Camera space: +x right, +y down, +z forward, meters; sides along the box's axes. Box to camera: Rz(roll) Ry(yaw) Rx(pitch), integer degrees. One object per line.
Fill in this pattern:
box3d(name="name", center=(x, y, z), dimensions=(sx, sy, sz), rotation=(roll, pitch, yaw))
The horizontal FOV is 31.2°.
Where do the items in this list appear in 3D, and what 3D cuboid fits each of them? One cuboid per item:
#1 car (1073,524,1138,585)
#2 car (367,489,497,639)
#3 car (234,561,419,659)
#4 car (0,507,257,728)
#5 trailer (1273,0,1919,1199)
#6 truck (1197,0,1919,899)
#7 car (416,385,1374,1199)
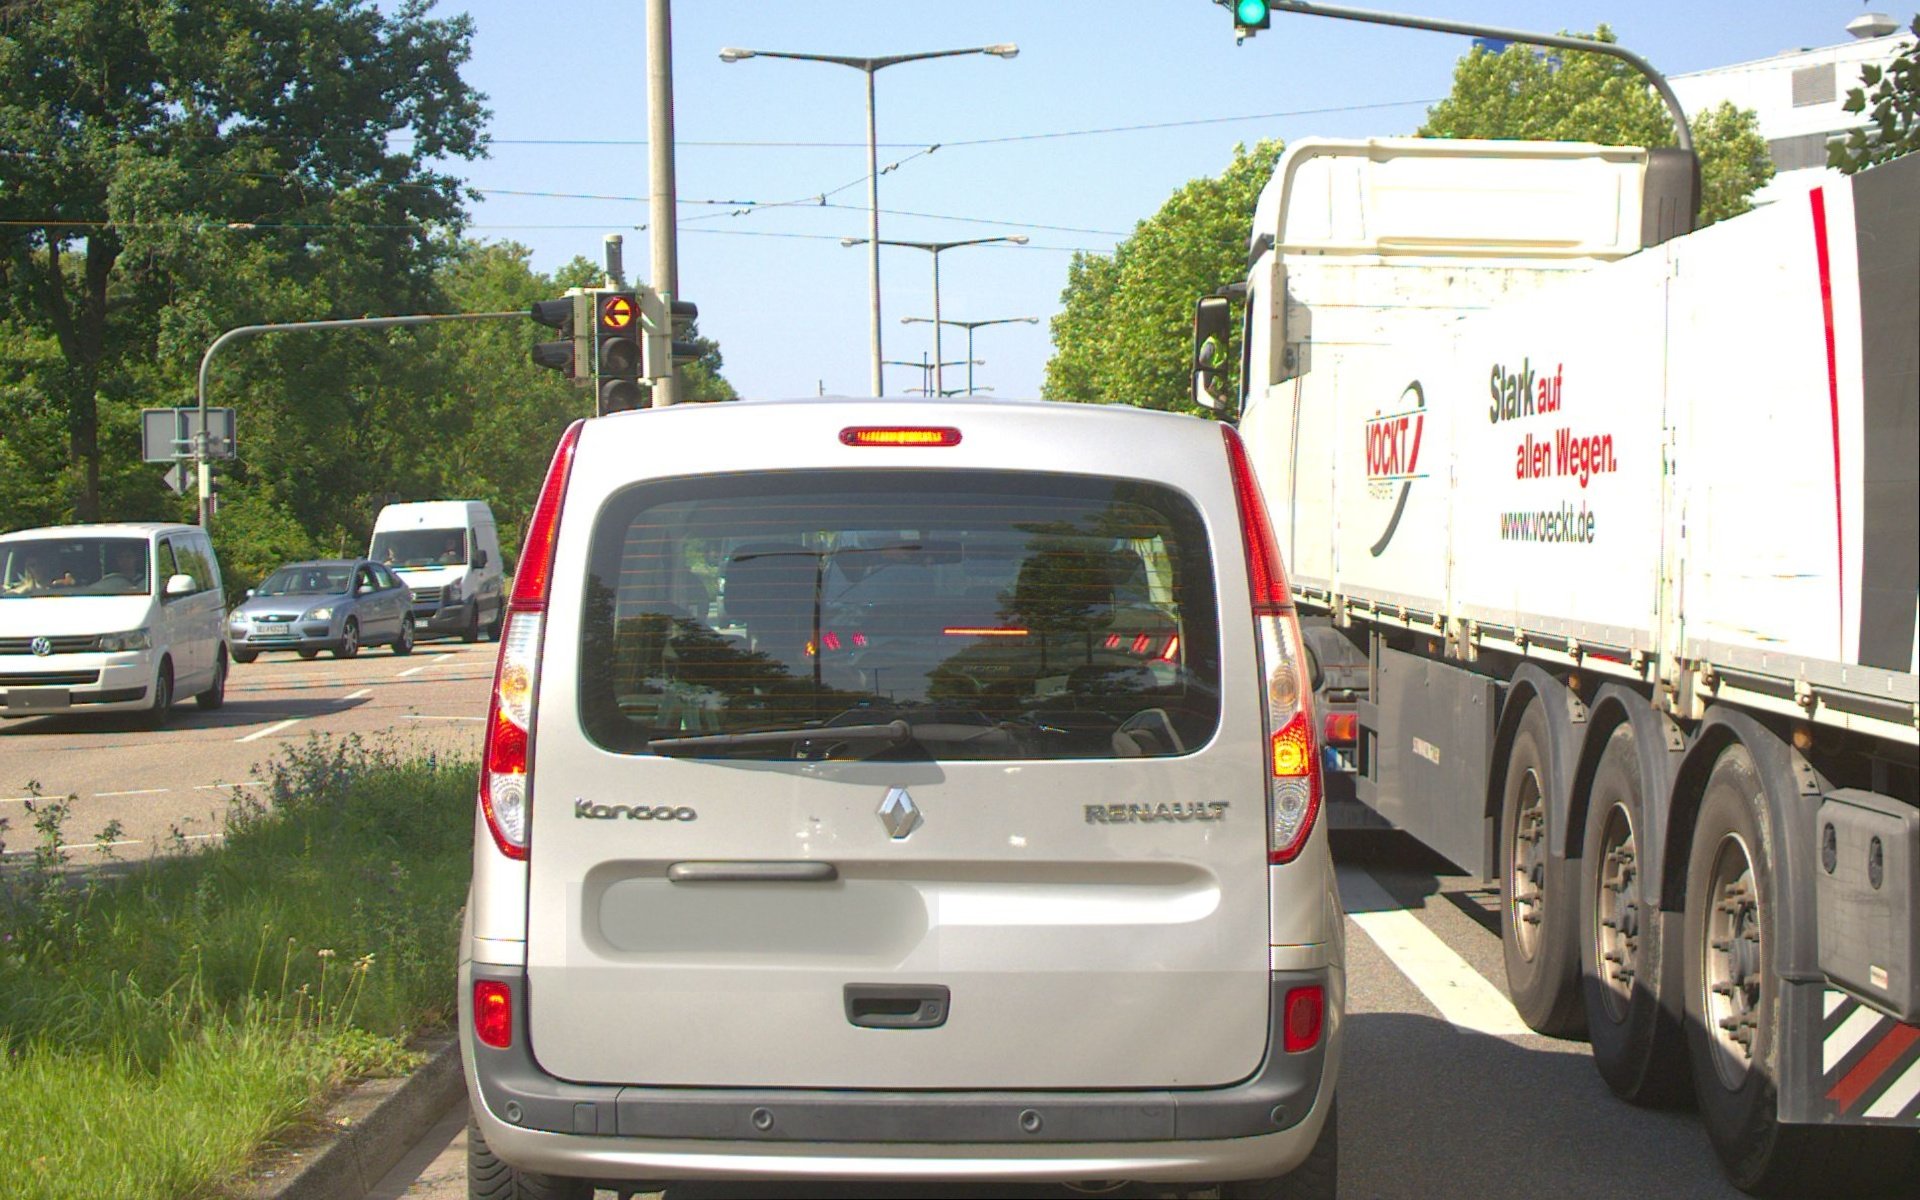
box3d(name="car", center=(4.917, -1.542, 116.505), dimensions=(1.993, 2.007, 4.000), rotation=(0, 1, -1))
box3d(name="car", center=(-9.598, -0.664, 62.911), dimensions=(2.058, 2.605, 5.871), rotation=(0, 1, -6))
box3d(name="car", center=(-9.442, 0.117, 51.564), dimensions=(1.911, 1.404, 4.227), rotation=(0, 1, 1))
box3d(name="car", center=(-8.252, 0.144, 32.867), dimensions=(1.993, 1.884, 4.988), rotation=(-3, 1, -1))
box3d(name="trailer", center=(2.992, -0.635, 10.638), dimensions=(3.016, 3.728, 12.240), rotation=(0, 1, 0))
box3d(name="truck", center=(3.061, -0.702, 17.724), dimensions=(3.071, 3.745, 7.476), rotation=(0, 1, -1))
box3d(name="car", center=(-0.128, 0.467, 8.262), dimensions=(1.749, 1.766, 3.949), rotation=(0, 1, 0))
